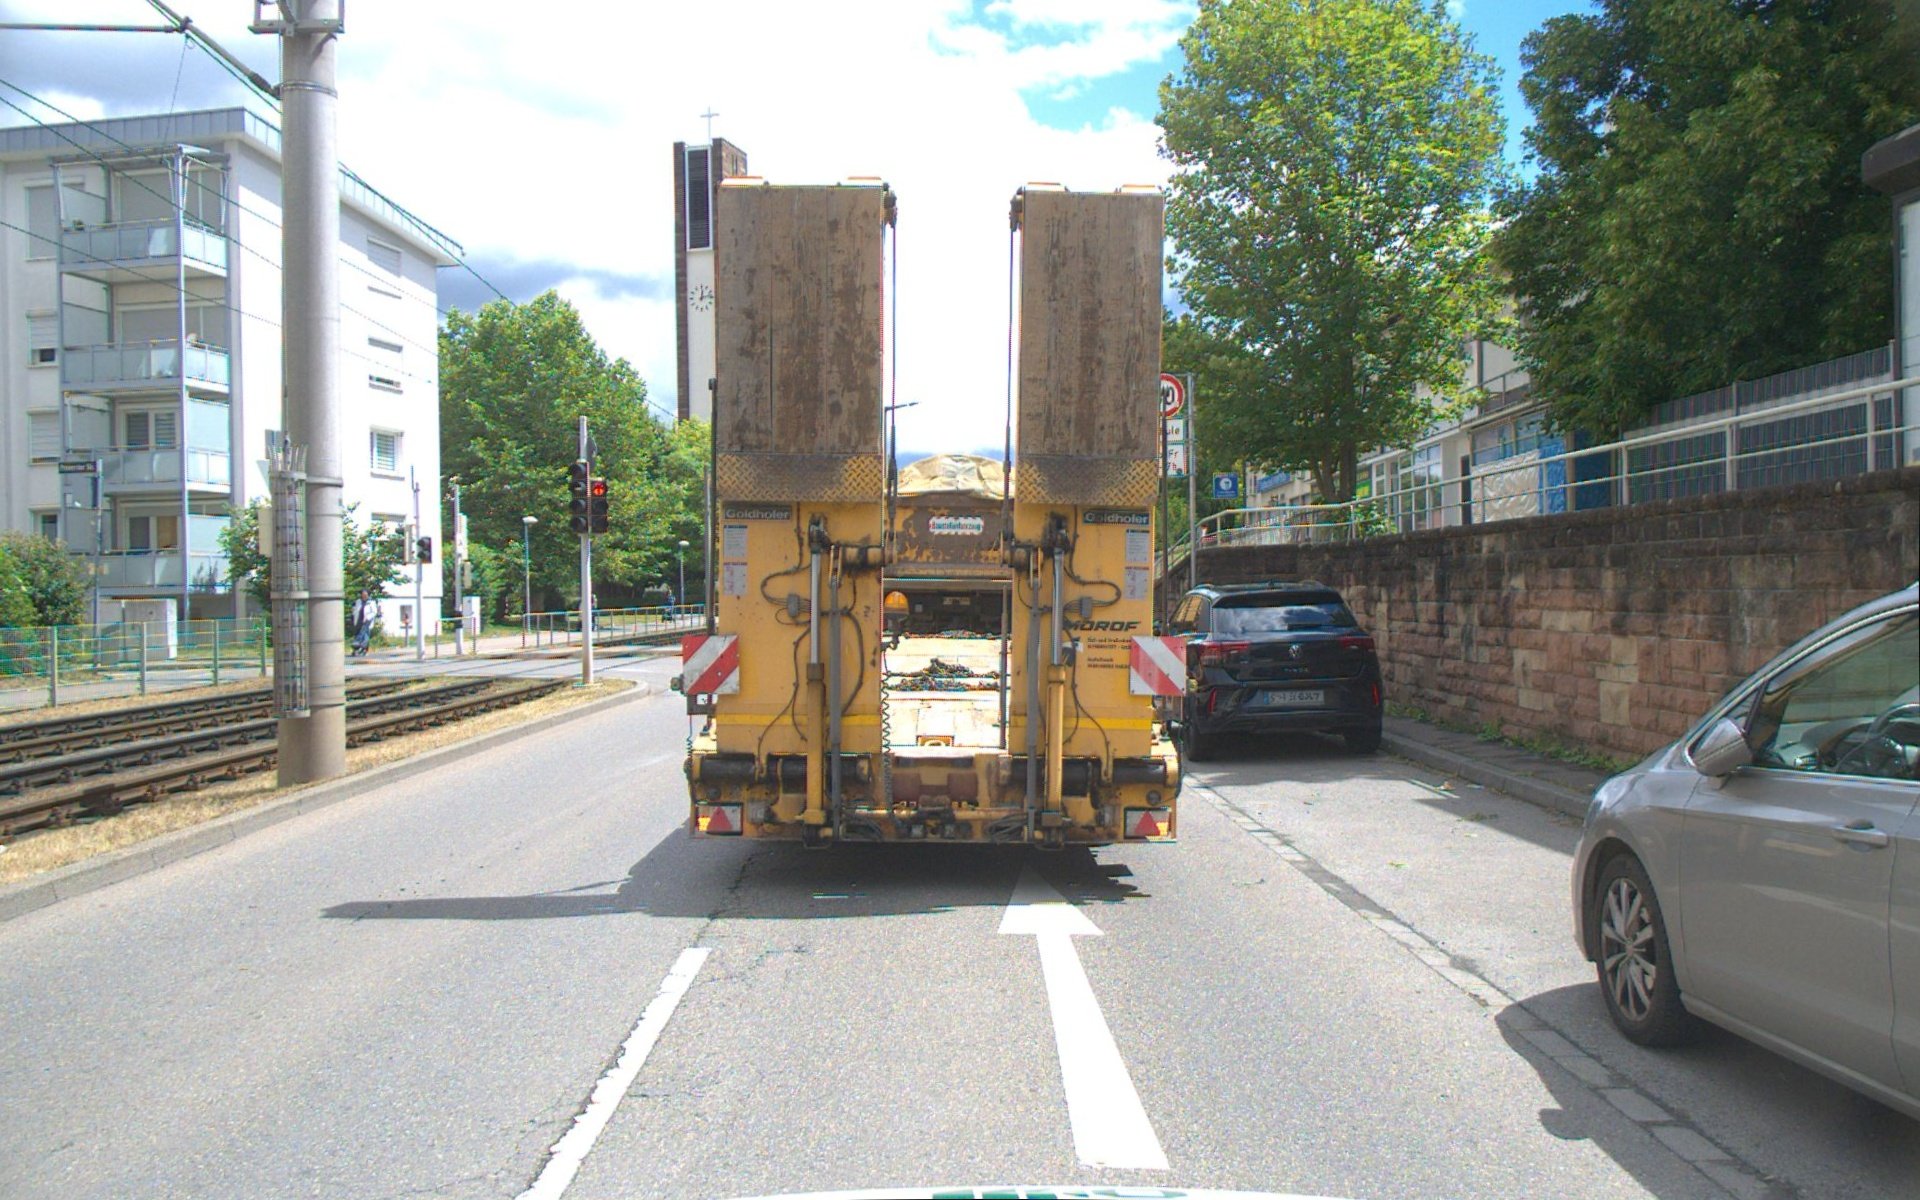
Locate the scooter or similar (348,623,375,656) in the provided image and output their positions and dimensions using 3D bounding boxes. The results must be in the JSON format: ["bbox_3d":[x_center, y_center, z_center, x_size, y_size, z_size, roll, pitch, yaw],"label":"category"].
[{"bbox_3d":[-14.555,0.962,40.225,0.428,0.760,0.475,-1,1,4],"label":"scooter or similar"}]

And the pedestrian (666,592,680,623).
[{"bbox_3d":[-14.142,0.373,81.398,0.552,1.540,0.645,1,0,-2],"label":"pedestrian"}]

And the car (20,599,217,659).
[{"bbox_3d":[-20.621,0.699,40.614,3.902,1.369,1.903,-1,0,7],"label":"car"}]

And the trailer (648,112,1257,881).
[{"bbox_3d":[-0.025,-0.528,12.304,2.885,3.664,8.683,-1,0,0],"label":"trailer"}]

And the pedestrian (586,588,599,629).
[{"bbox_3d":[-14.441,0.329,64.990,0.341,1.564,0.557,-1,0,3],"label":"pedestrian"}]

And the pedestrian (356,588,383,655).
[{"bbox_3d":[-14.524,0.529,40.700,0.428,1.608,0.475,-1,1,4],"label":"pedestrian"}]

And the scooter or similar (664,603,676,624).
[{"bbox_3d":[-14.153,0.645,80.745,0.495,0.988,0.645,1,0,-2],"label":"scooter or similar"}]

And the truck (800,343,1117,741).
[{"bbox_3d":[-0.014,-0.550,17.714,2.882,3.635,4.876,-1,0,0],"label":"truck"}]

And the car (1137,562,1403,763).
[{"bbox_3d":[2.887,0.526,16.253,1.813,1.668,4.000,-2,0,0],"label":"car"}]

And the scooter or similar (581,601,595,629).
[{"bbox_3d":[-14.487,0.579,64.351,0.331,1.076,0.688,-1,0,4],"label":"scooter or similar"}]

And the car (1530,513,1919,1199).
[{"bbox_3d":[3.142,0.588,4.235,1.754,1.646,4.247,-2,0,-2],"label":"car"}]
